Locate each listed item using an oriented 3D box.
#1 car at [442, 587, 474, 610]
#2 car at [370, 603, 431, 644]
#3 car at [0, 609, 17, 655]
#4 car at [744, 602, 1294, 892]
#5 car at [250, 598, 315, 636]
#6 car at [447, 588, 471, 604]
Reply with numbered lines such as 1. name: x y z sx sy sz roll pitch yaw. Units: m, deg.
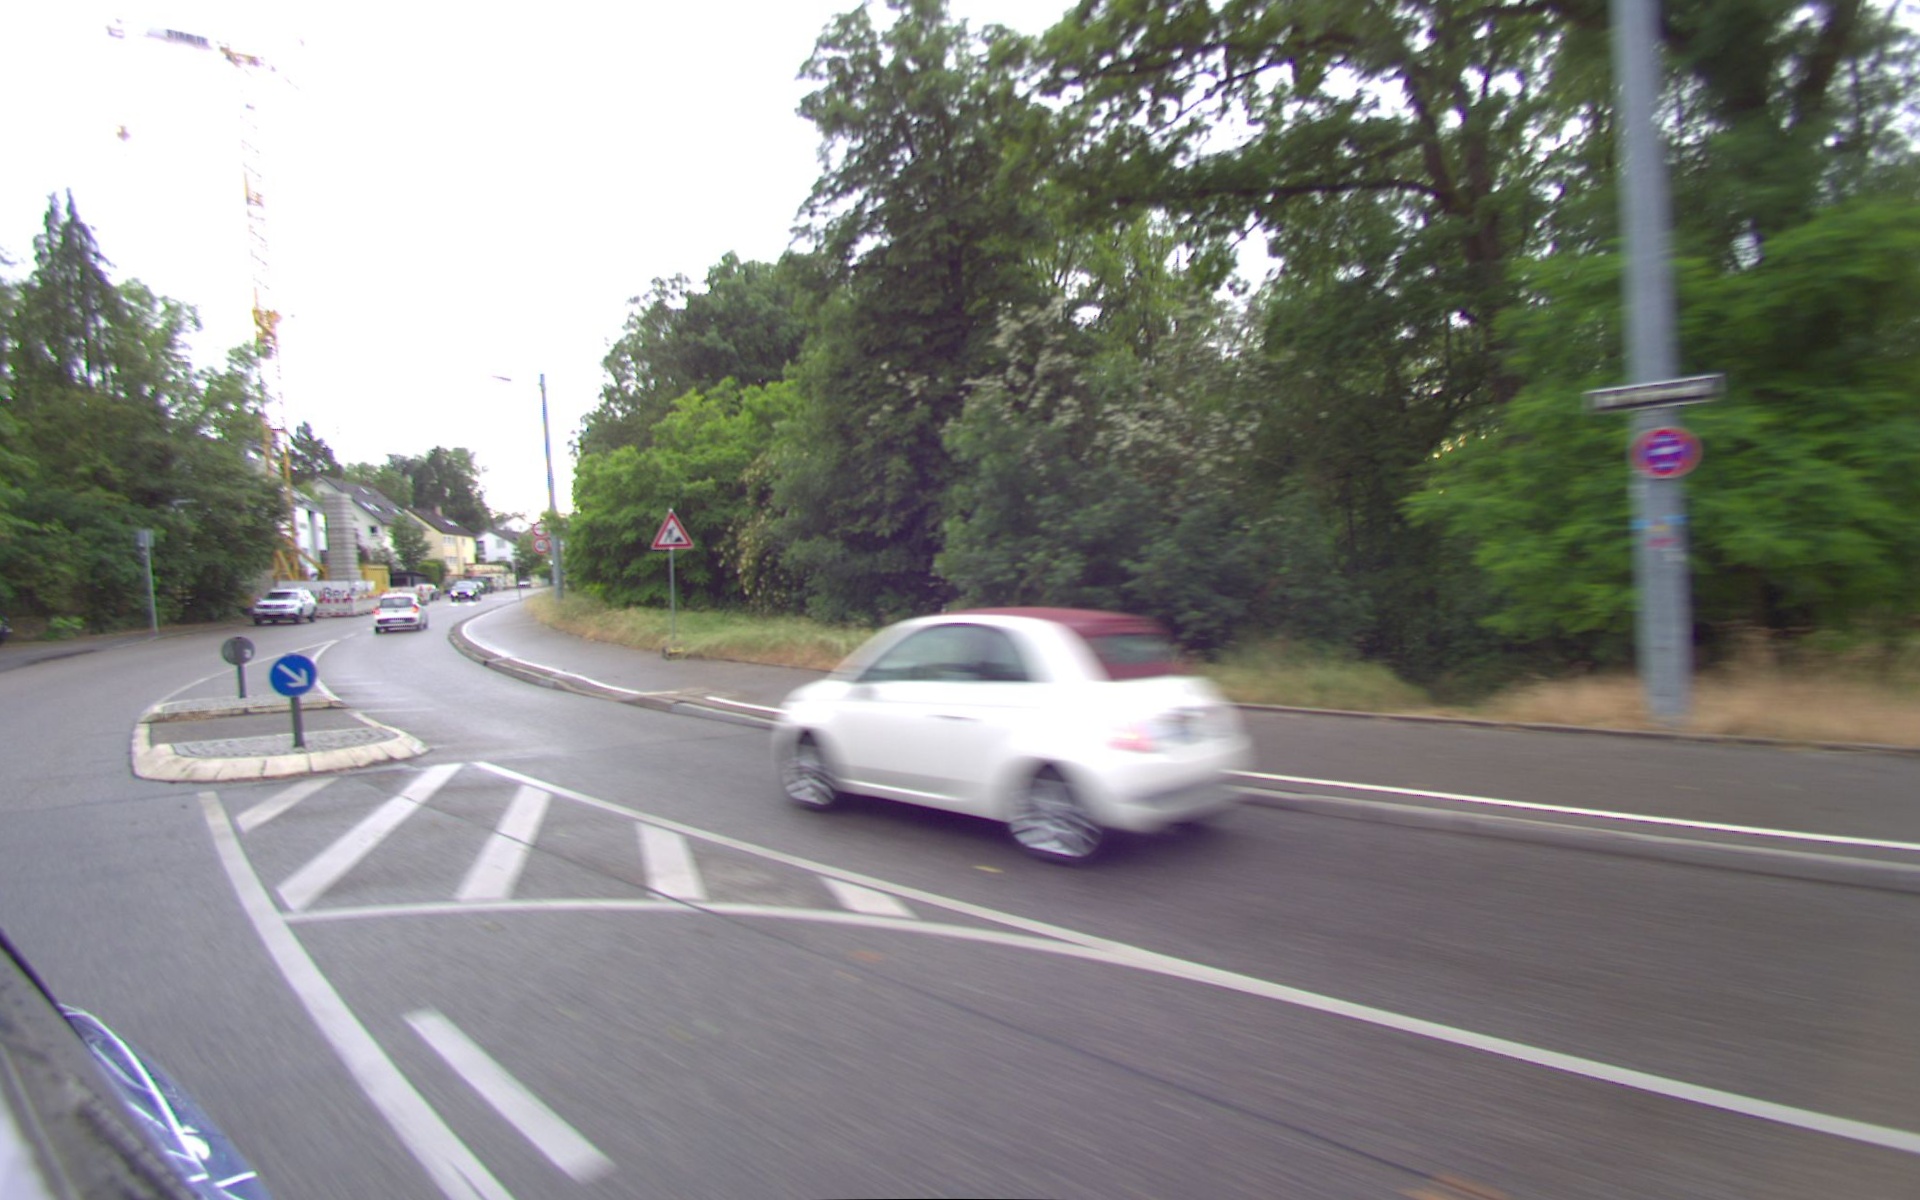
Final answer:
1. car: -40.688 -0.128 82.017 1.965 1.730 4.013 -1 -1 -21
2. car: -22.236 0.899 40.334 1.609 1.465 3.815 -2 1 -21
3. car: -31.353 1.149 30.884 3.430 1.422 1.432 -6 3 -30
4. car: 0.232 0.802 7.067 3.666 1.488 1.549 -2 -1 42
5. car: -31.513 0.755 47.165 1.801 1.607 4.013 0 1 -23
6. car: -50.511 -0.413 102.098 1.708 1.501 4.013 -1 1 -21
